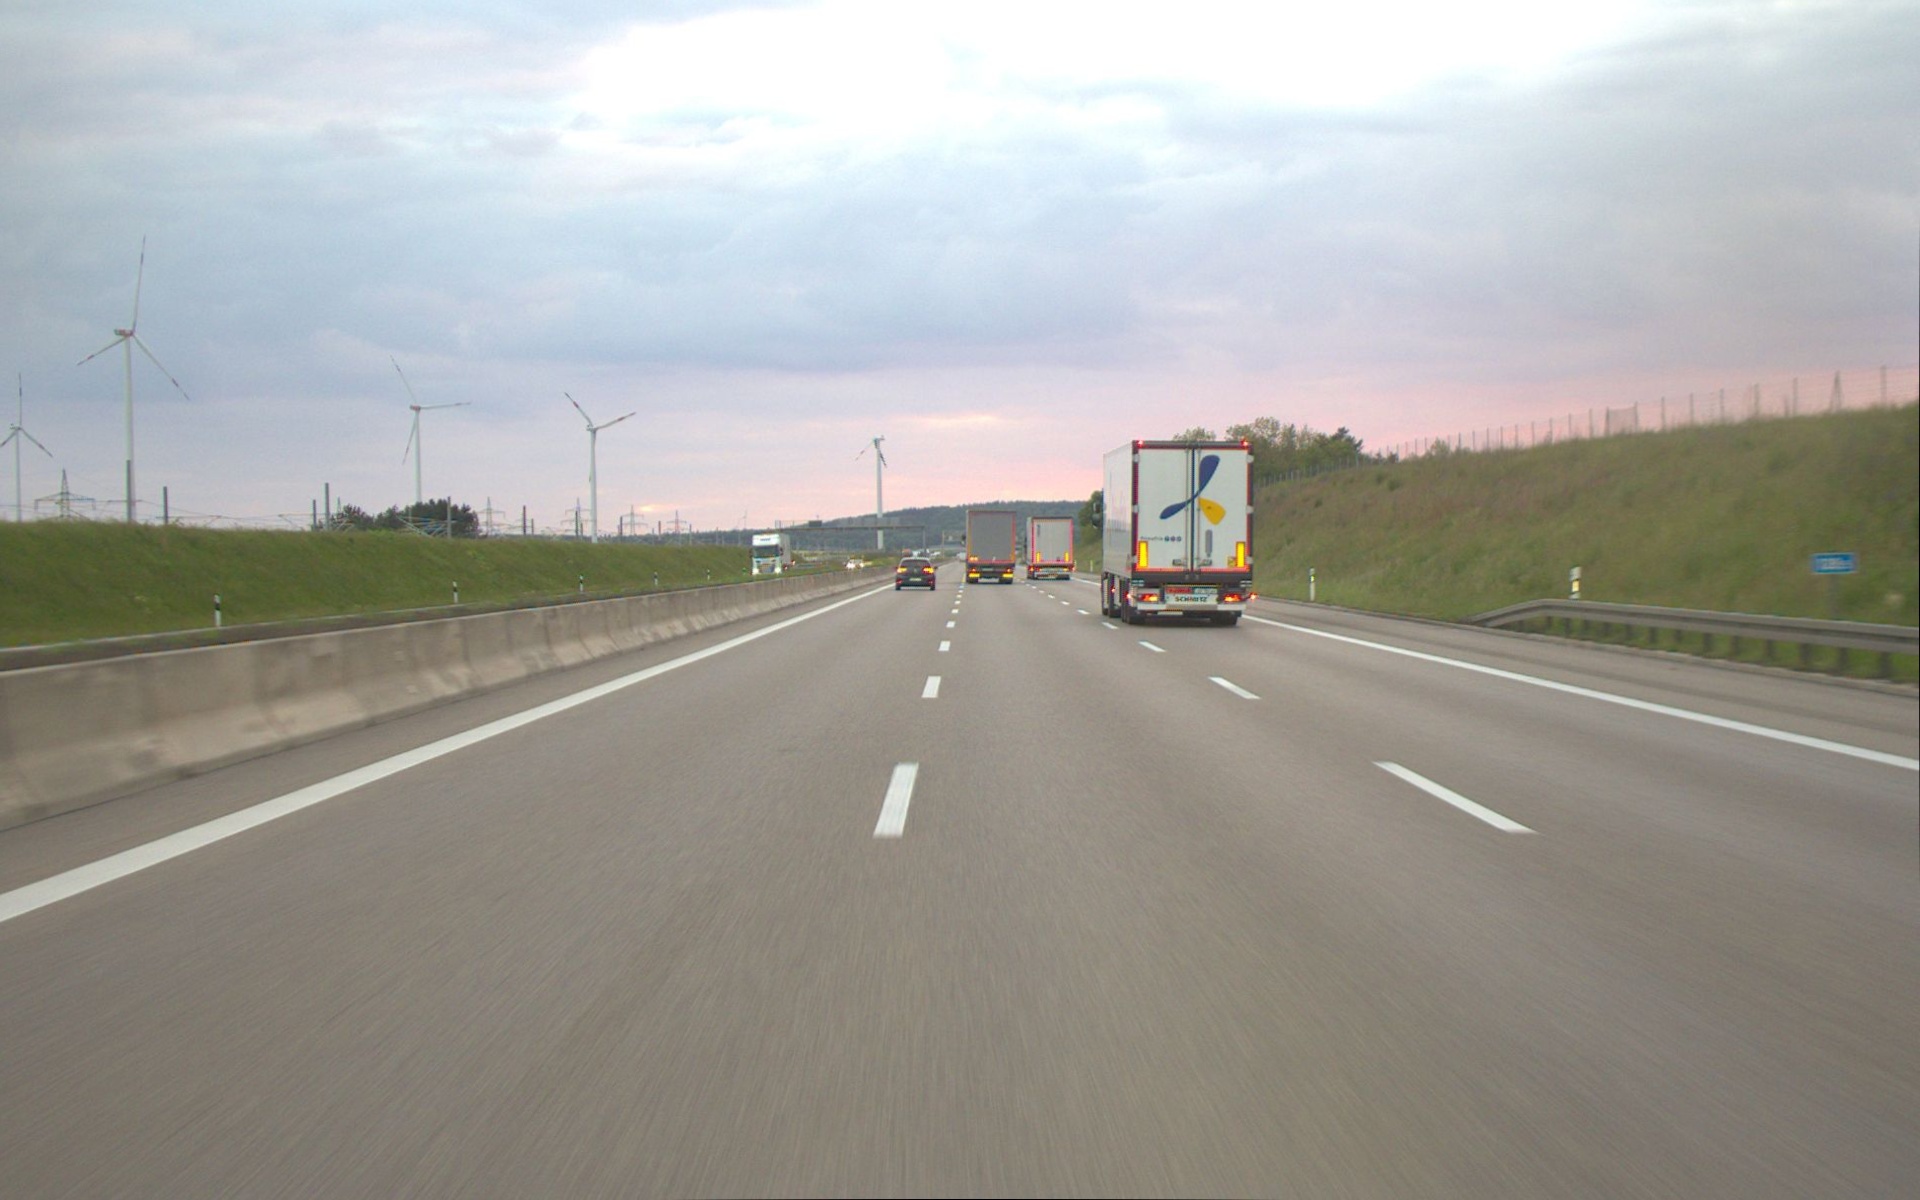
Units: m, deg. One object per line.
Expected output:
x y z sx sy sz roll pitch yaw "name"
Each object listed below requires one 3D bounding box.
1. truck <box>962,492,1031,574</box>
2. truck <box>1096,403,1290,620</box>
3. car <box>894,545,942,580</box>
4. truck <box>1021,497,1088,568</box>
1.967 -3.683 188.695 3.647 4.399 8.636 0 1 0 "truck"
5.158 -1.982 78.343 3.675 4.549 10.981 -1 1 0 "truck"
-1.834 -1.666 151.474 1.988 1.425 4.000 -1 1 1 "car"
6.085 -4.340 221.899 3.966 4.399 8.636 -1 1 0 "truck"
